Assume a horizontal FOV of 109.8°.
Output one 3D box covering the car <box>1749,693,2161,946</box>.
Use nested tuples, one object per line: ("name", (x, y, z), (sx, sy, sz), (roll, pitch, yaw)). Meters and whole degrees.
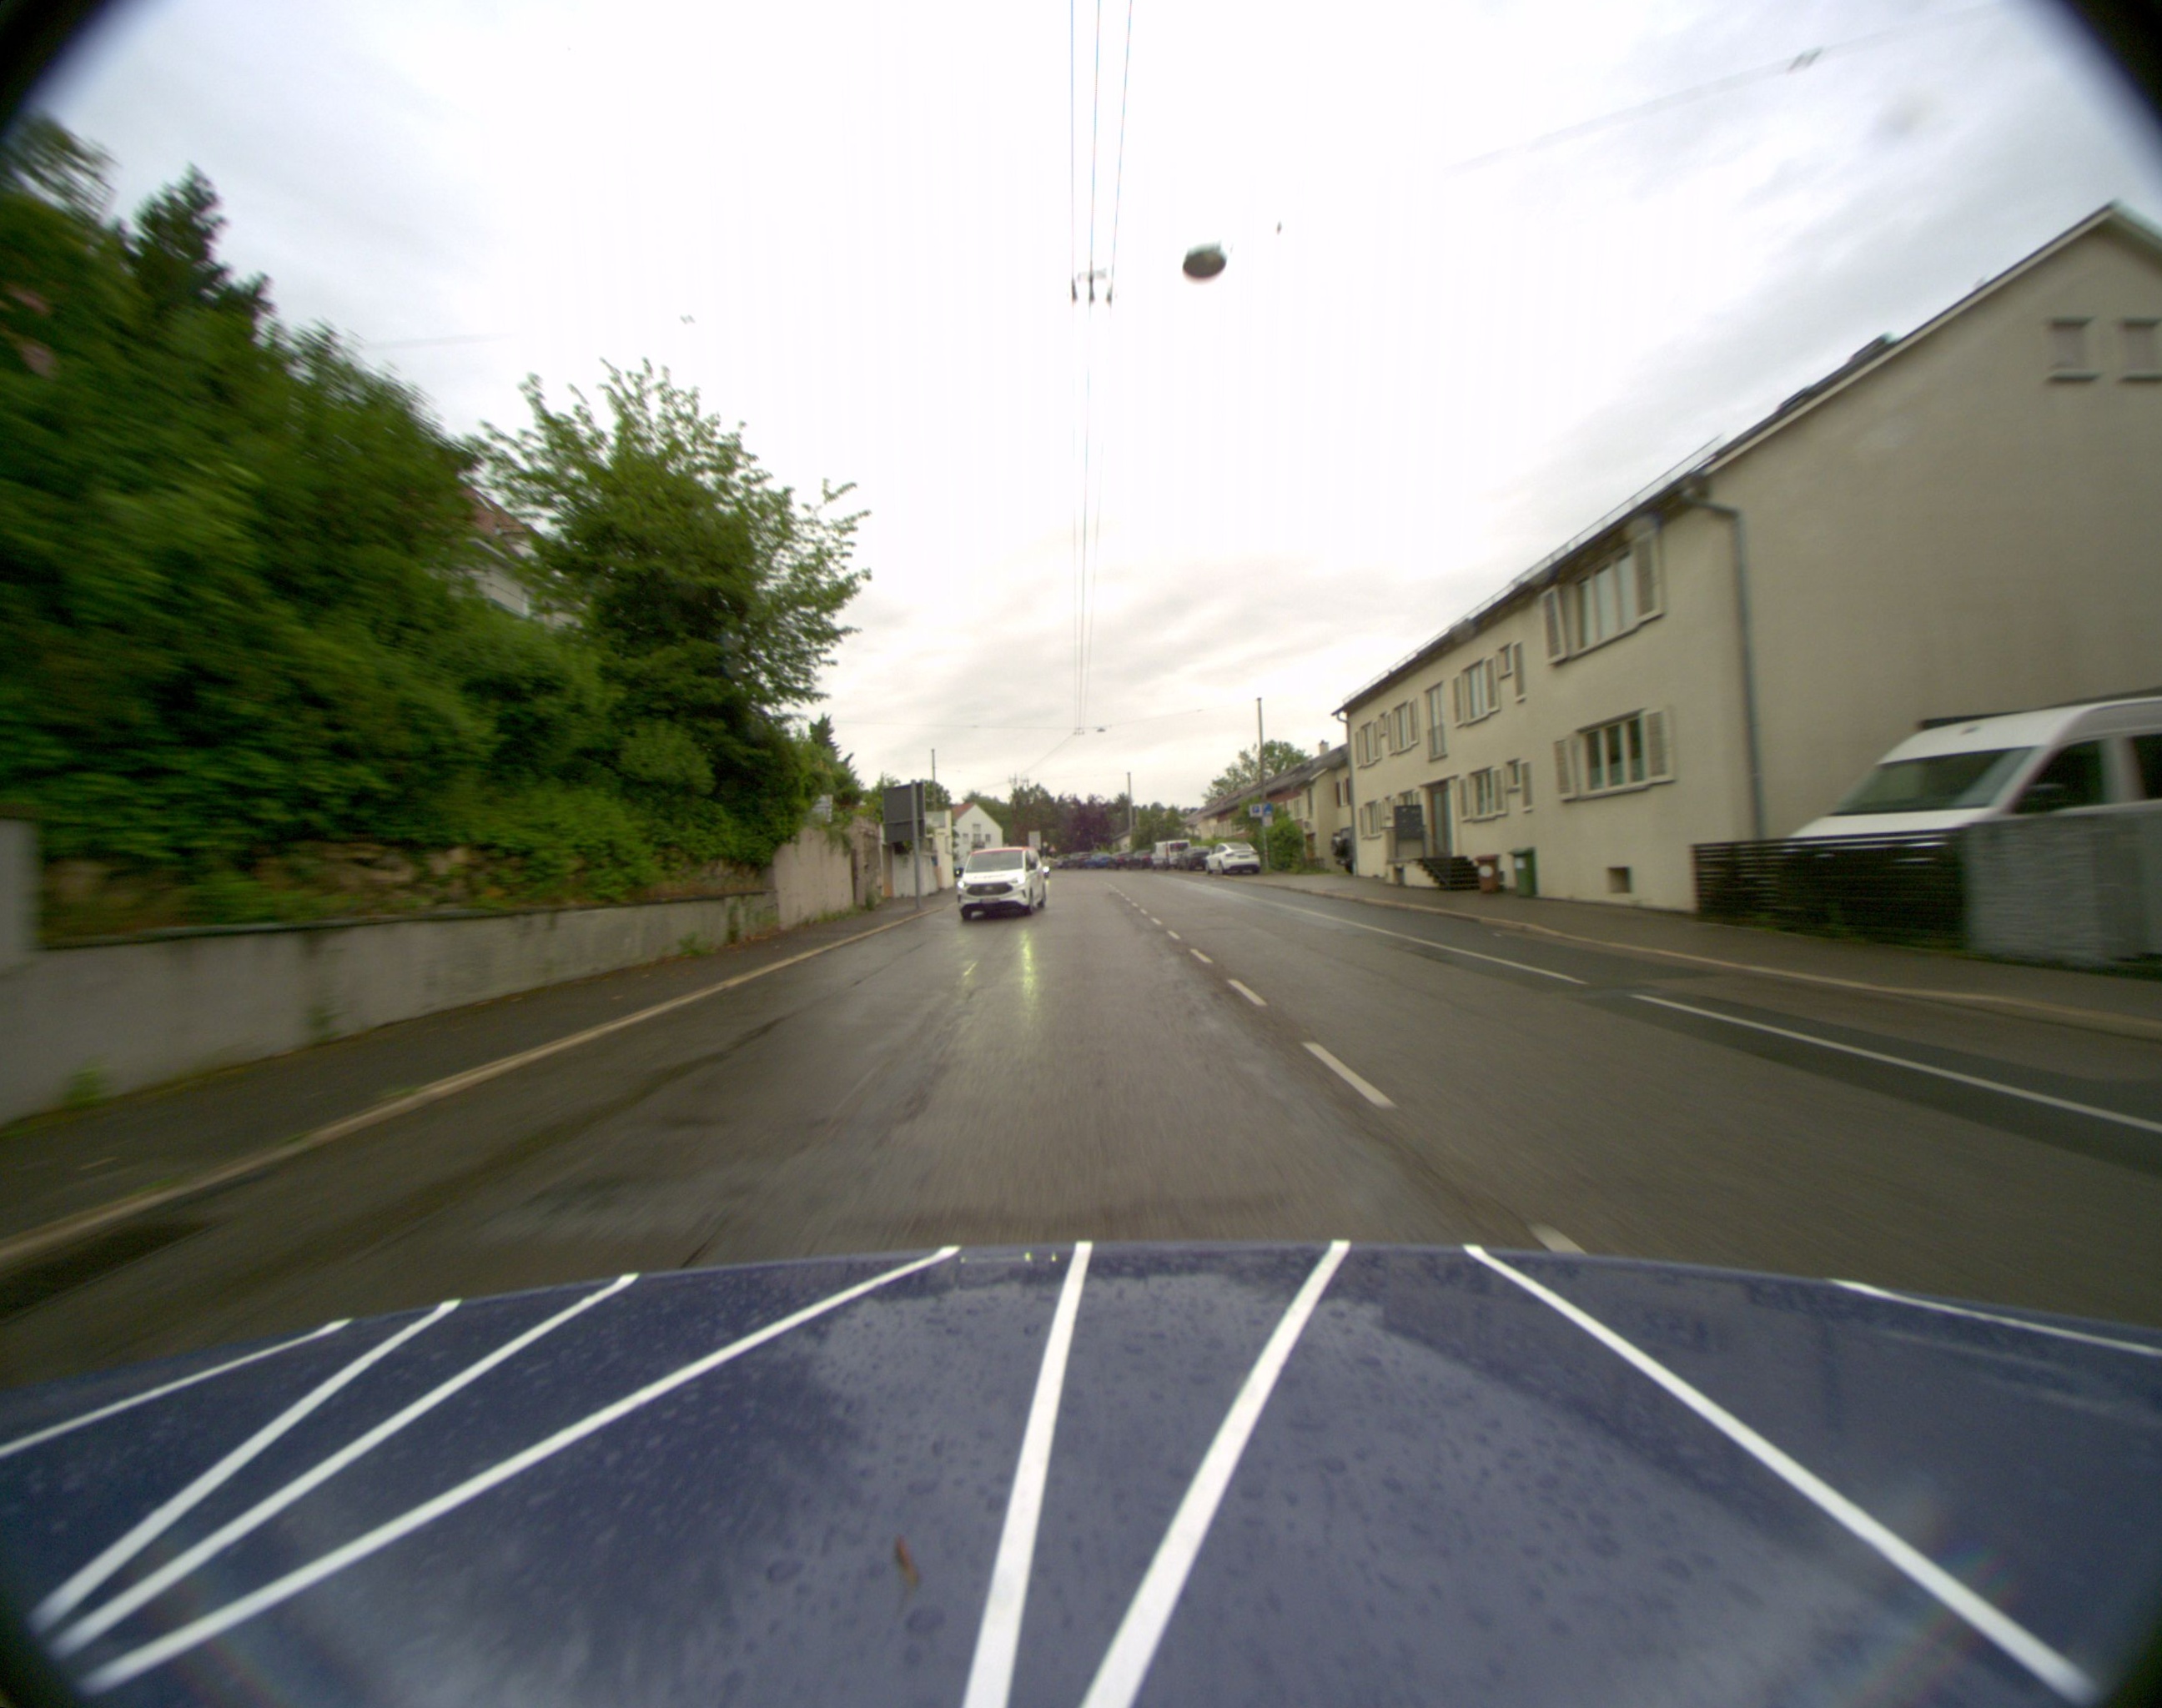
("car", (12.379, -0.533, 9.169), (6.671, 2.539, 2.167), (-4, 2, 0))

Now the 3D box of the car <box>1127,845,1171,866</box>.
("car", (5.182, 0.120, 58.547), (1.814, 1.468, 4.516), (-4, 1, -15))

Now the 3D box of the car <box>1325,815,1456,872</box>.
("car", (12.524, -0.422, 30.918), (4.501, 2.002, 1.887), (-3, 0, -3))

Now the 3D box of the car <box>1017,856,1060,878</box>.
("car", (-3.347, 1.005, 58.868), (2.168, 1.487, 4.698), (-4, 1, -17))

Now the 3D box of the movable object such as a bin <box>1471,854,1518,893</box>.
("movable object such as a bin", (9.859, 0.456, 18.137), (0.675, 0.854, 0.708), (-4, 1, 0))

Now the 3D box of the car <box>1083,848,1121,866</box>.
("car", (1.864, 0.285, 69.419), (1.706, 1.397, 4.465), (-5, 1, -21))

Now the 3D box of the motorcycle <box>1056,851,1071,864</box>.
("motorcycle", (-1.814, 0.363, 78.336), (0.574, 1.264, 1.909), (-4, 1, 32))

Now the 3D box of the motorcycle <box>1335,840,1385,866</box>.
("motorcycle", (13.566, -0.058, 36.943), (2.098, 1.129, 0.839), (-4, 3, 3))

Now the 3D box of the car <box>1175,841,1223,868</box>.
("car", (7.292, 0.013, 47.326), (1.813, 1.468, 4.519), (-4, 1, -5))

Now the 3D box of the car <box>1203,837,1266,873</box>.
("car", (7.837, 0.014, 39.185), (1.934, 1.622, 4.675), (-4, 1, -4))

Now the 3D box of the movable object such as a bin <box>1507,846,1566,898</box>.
("movable object such as a bin", (9.813, 0.372, 16.387), (0.783, 1.041, 0.738), (-4, 1, 0))

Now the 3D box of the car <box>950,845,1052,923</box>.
("car", (-2.223, 0.789, 22.472), (2.041, 1.927, 4.516), (-4, 0, 5))

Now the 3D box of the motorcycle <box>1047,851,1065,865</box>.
("motorcycle", (-2.584, 0.384, 79.419), (1.806, 1.296, 0.613), (-5, 1, 1))

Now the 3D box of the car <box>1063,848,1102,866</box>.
("car", (0.117, 0.289, 74.231), (1.930, 1.568, 4.379), (-5, 1, -26))

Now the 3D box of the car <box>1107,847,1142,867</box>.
("car", (3.632, 0.244, 64.373), (1.814, 1.468, 4.517), (-4, 1, -12))

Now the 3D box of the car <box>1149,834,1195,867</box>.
("car", (6.346, -0.246, 53.497), (1.854, 2.067, 5.016), (-4, 1, -9))
